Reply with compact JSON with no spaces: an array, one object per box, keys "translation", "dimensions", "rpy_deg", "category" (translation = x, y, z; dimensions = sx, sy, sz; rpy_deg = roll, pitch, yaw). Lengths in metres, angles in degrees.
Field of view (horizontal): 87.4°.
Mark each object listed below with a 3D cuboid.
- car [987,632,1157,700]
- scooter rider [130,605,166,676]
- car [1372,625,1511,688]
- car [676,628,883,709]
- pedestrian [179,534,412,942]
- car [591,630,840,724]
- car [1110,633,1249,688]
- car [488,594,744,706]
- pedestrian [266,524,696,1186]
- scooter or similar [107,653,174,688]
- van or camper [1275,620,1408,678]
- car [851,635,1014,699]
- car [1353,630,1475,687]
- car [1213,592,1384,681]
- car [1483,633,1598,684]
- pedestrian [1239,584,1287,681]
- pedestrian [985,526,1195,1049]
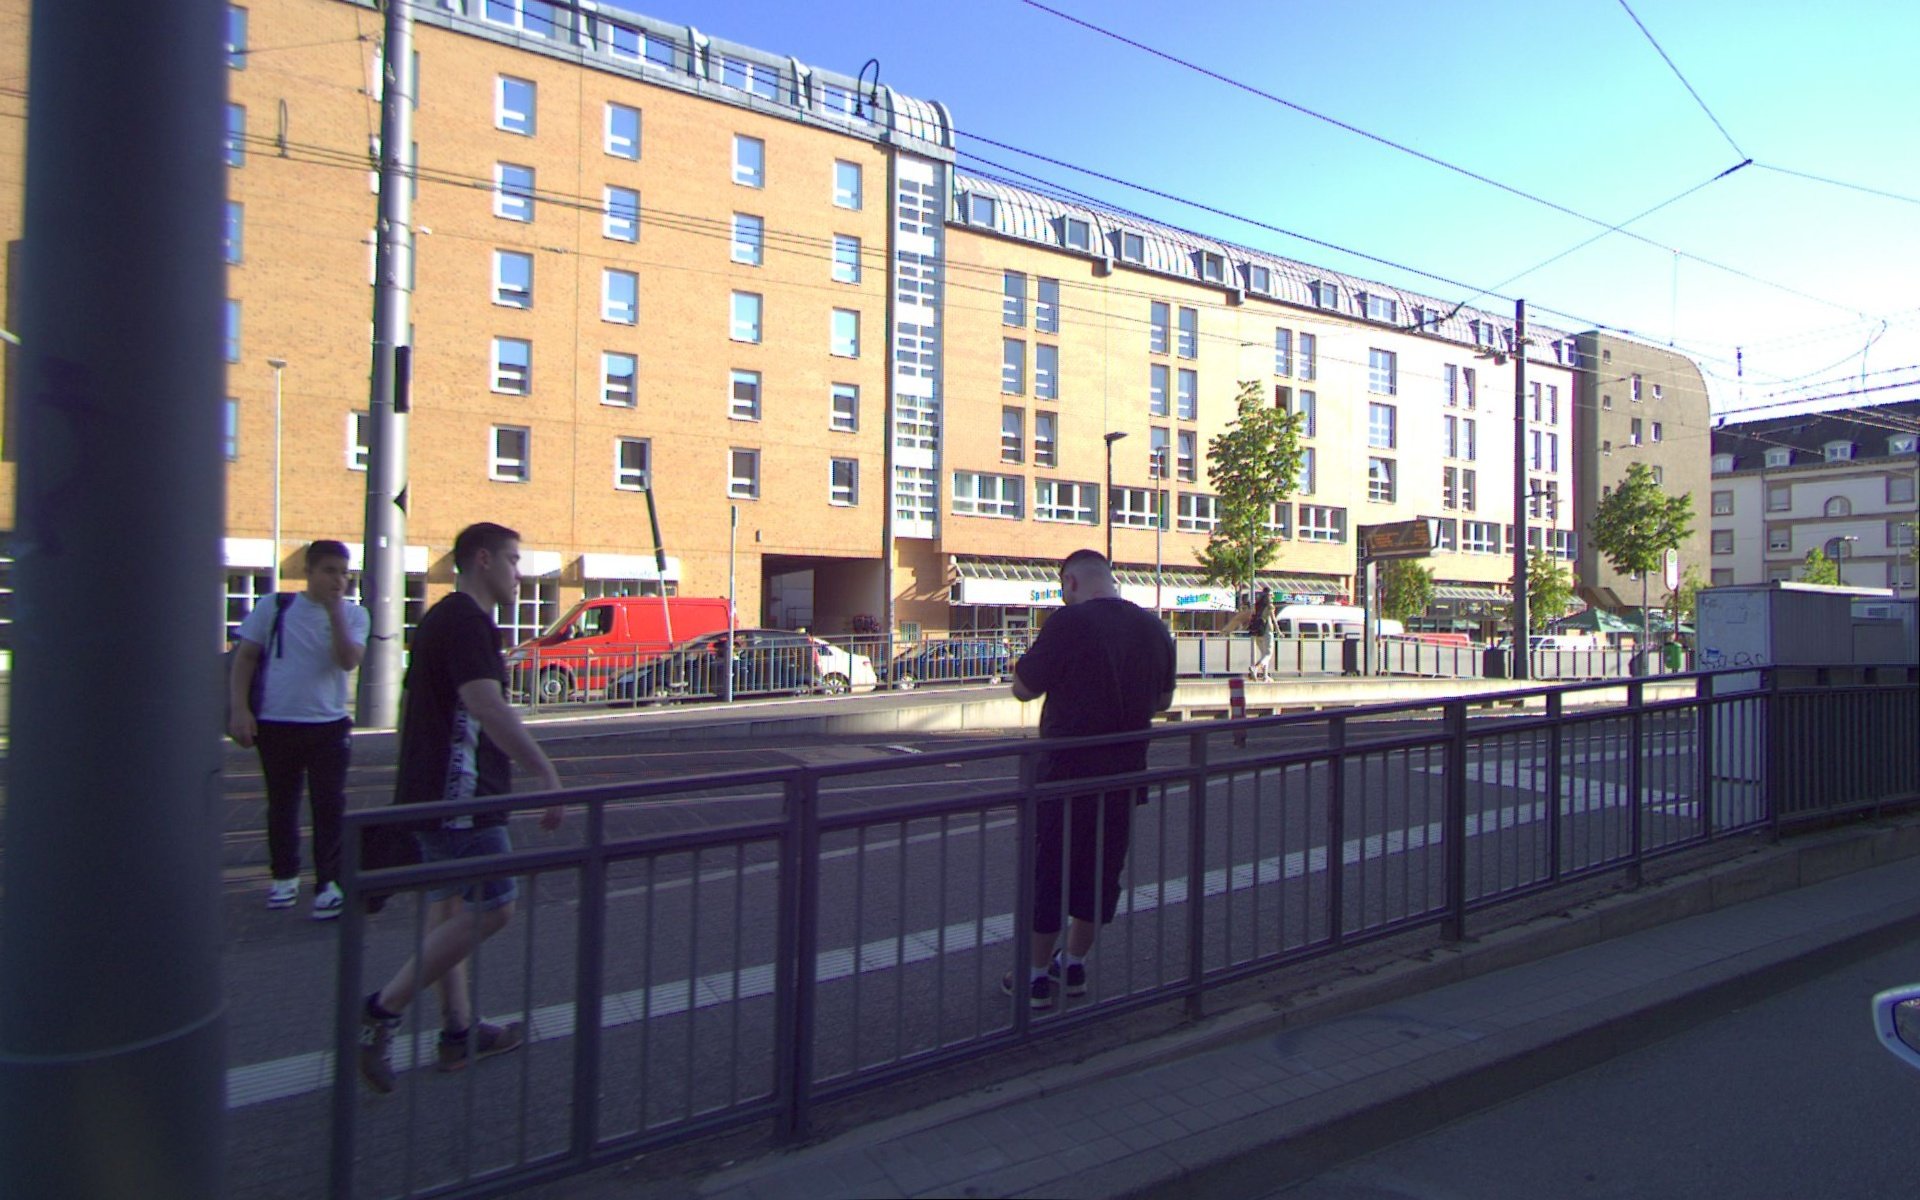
[{"translation":[2.826,1.590,25.231],"dimensions":[3.954,1.553,1.877],"rpy_deg":[1,-2,-31],"category":"car"},{"translation":[-20.735,1.033,25.651],"dimensions":[0.526,1.778,0.568],"rpy_deg":[-1,-2,39],"category":"scooter rider"},{"translation":[15.410,1.752,32.096],"dimensions":[4.263,1.891,1.878],"rpy_deg":[1,-2,-29],"category":"car"},{"translation":[-3.824,1.387,21.406],"dimensions":[3.954,1.553,1.877],"rpy_deg":[1,-2,-31],"category":"car"},{"translation":[-3.163,0.603,4.796],"dimensions":[0.633,1.740,0.773],"rpy_deg":[-1,-2,43],"category":"pedestrian"},{"translation":[-4.283,1.280,17.707],"dimensions":[3.954,1.467,1.749],"rpy_deg":[1,-2,-31],"category":"car"},{"translation":[6.736,1.787,30.745],"dimensions":[3.954,1.553,1.877],"rpy_deg":[1,-2,-31],"category":"car"},{"translation":[-7.814,1.135,22.988],"dimensions":[5.204,2.319,2.069],"rpy_deg":[2,-2,-31],"category":"car"},{"translation":[-1.337,0.616,2.920],"dimensions":[0.702,1.559,0.851],"rpy_deg":[0,-2,25],"category":"pedestrian"},{"translation":[-20.818,1.789,25.529],"dimensions":[0.536,0.842,1.234],"rpy_deg":[-1,-2,39],"category":"scooter or similar"},{"translation":[15.903,1.973,41.814],"dimensions":[5.543,2.198,1.986],"rpy_deg":[-1,-1,-27],"category":"van or camper"},{"translation":[-0.723,1.713,26.723],"dimensions":[3.954,1.553,1.877],"rpy_deg":[1,-2,-31],"category":"car"},{"translation":[16.263,2.042,35.942],"dimensions":[4.266,1.891,1.877],"rpy_deg":[1,-2,-31],"category":"car"},{"translation":[9.843,1.066,29.129],"dimensions":[4.861,2.389,2.036],"rpy_deg":[2,-2,-30],"category":"car"},{"translation":[22.851,2.244,39.504],"dimensions":[4.259,1.891,1.880],"rpy_deg":[0,-2,-26],"category":"car"},{"translation":[5.429,0.585,18.033],"dimensions":[0.566,1.706,0.678],"rpy_deg":[1,-2,-13],"category":"pedestrian"},{"translation":[0.414,0.568,3.313],"dimensions":[0.542,1.559,0.489],"rpy_deg":[1,-2,-14],"category":"pedestrian"}]
